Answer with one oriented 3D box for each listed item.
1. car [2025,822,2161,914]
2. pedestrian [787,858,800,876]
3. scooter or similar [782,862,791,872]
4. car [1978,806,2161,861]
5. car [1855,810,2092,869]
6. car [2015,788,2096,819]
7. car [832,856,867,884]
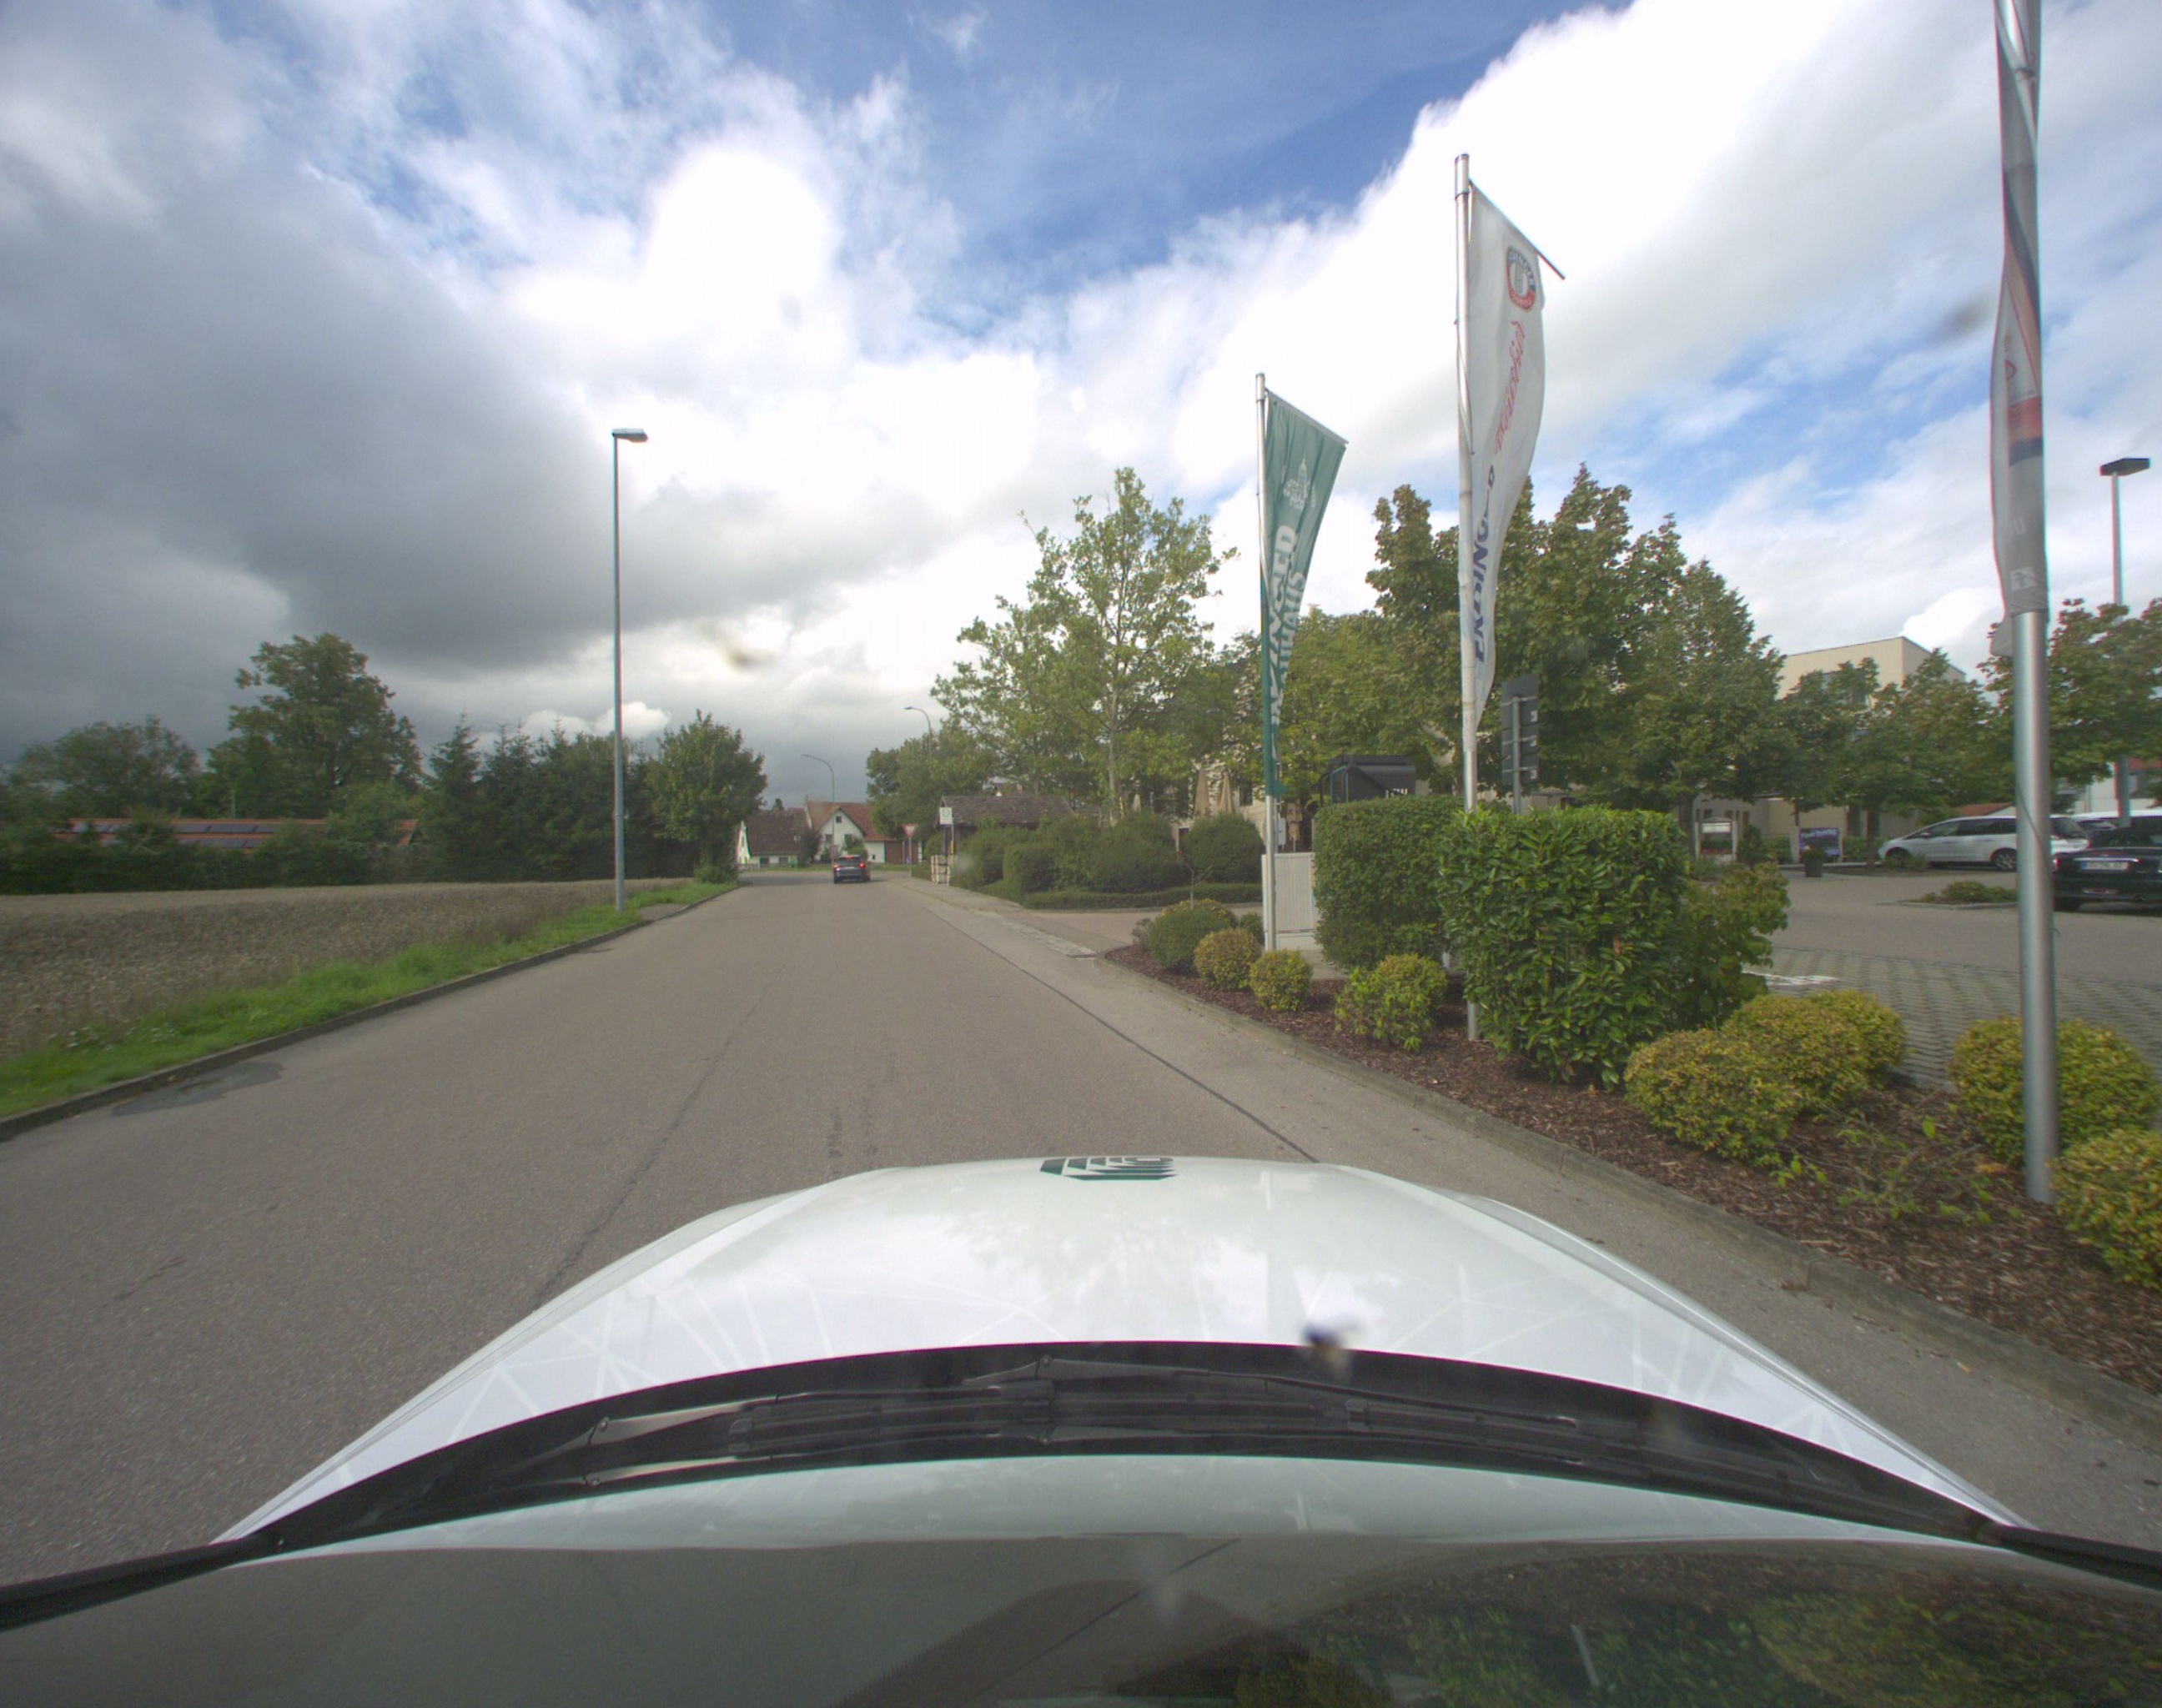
[{"bbox_3d":[17.351,0.174,12.915,3.361,1.351,1.624,-1,0,-10],"label":"car"},{"bbox_3d":[-28.163,1.273,79.758,0.703,1.665,0.796,-1,-4,40],"label":"pedestrian"},{"bbox_3d":[-28.912,1.240,79.946,0.614,0.948,0.636,-1,-4,40],"label":"scooter or similar"},{"bbox_3d":[34.054,-0.669,27.452,1.592,1.711,5.062,-1,0,-10],"label":"car"},{"bbox_3d":[28.688,-0.440,26.482,1.744,1.711,5.062,-1,0,-10],"label":"car"},{"bbox_3d":[62.410,-3.223,52.176,3.598,1.829,1.709,-1,0,-9],"label":"car"},{"bbox_3d":[-13.064,0.848,46.036,1.802,1.462,3.642,-2,0,-16],"label":"car"}]
